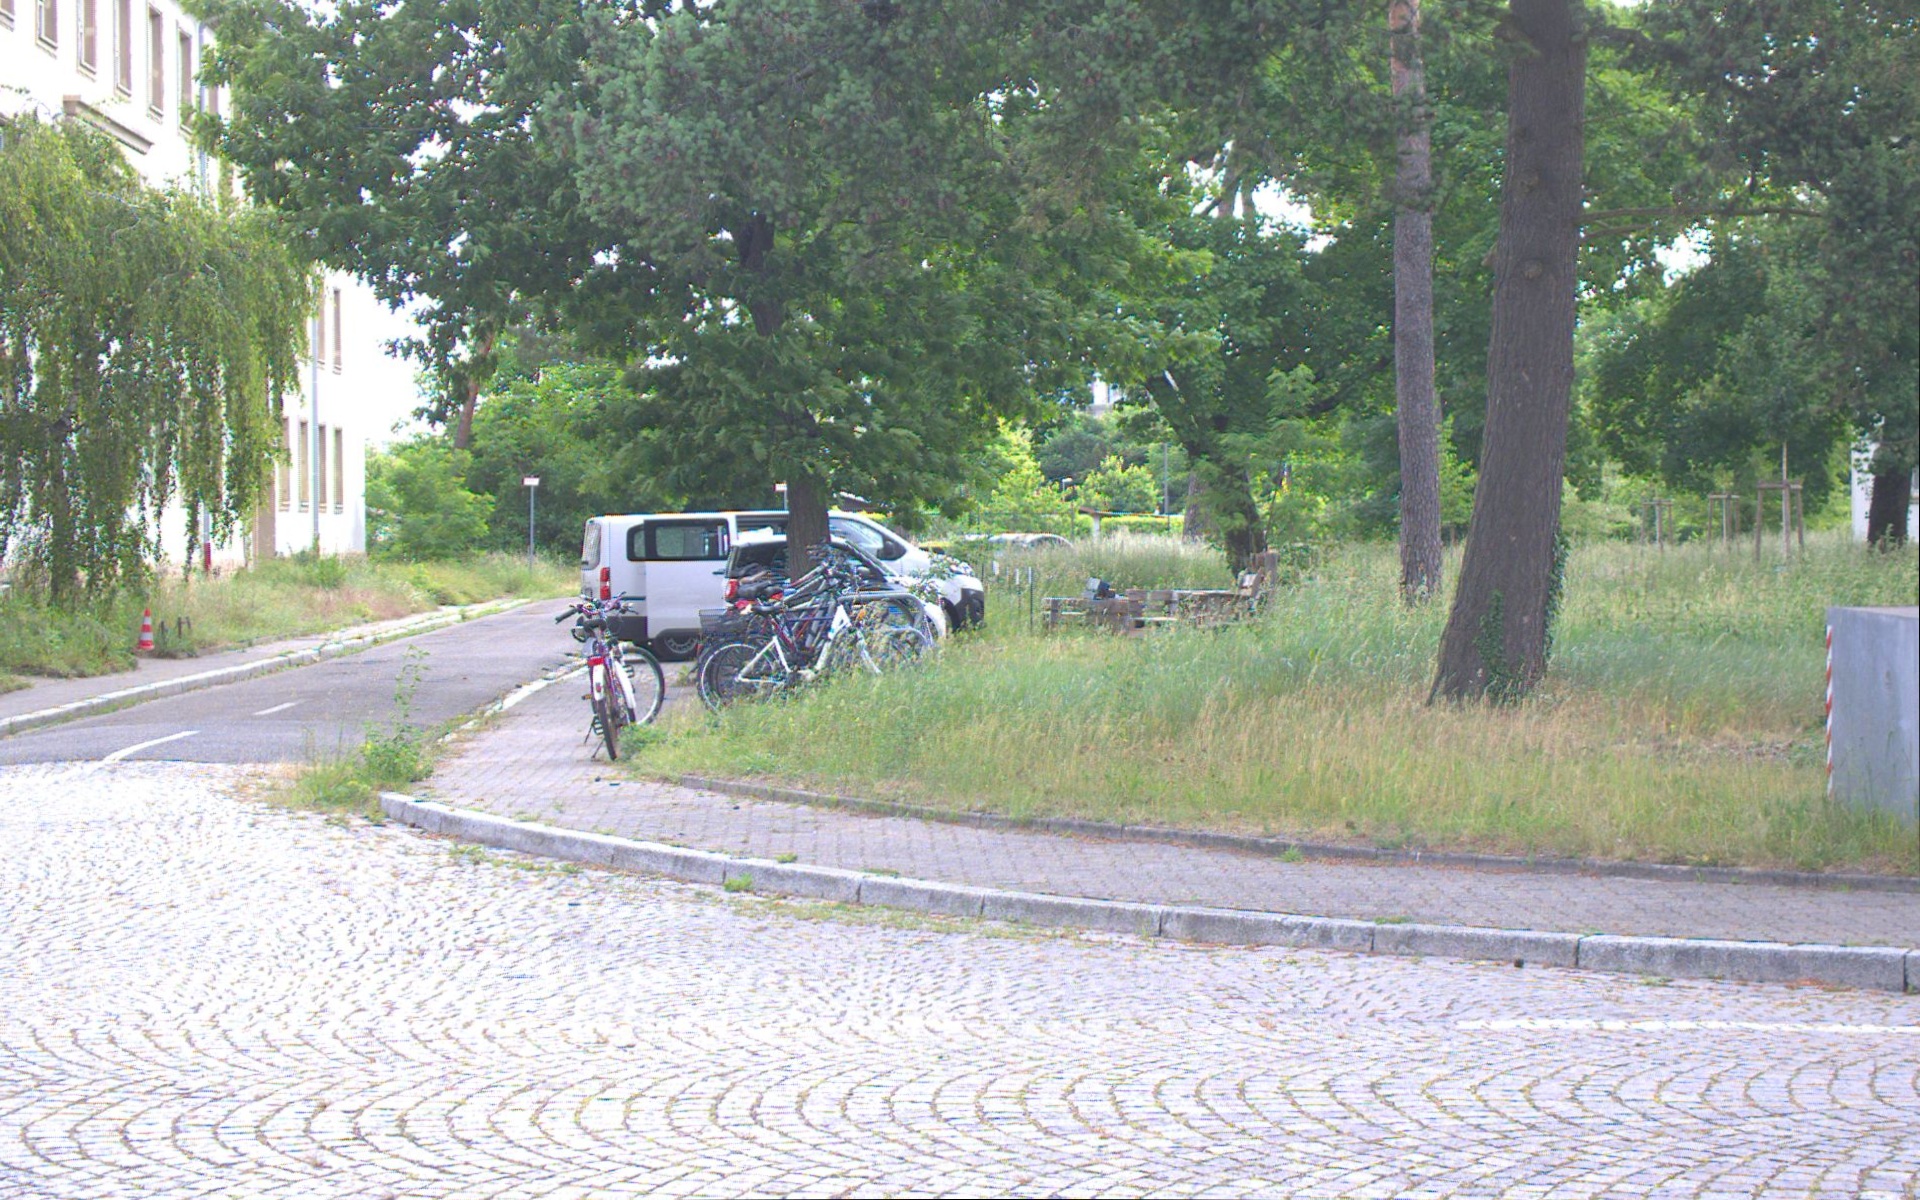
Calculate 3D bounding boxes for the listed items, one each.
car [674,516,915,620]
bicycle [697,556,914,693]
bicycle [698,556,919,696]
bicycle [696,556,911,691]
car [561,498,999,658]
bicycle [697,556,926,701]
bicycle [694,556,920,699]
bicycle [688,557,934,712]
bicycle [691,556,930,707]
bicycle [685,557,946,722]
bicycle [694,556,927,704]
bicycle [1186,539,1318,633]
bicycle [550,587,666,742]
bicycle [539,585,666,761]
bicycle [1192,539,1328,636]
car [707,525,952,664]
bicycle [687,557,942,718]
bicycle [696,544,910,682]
[{"bbox_3d":[-2.826,-0.551,58.573,4.031,1.712,1.681,-1,1,-3],"label":"car"},{"bbox_3d":[-1.433,0.222,31.784,1.982,1.243,0.624,0,1,-4],"label":"bicycle"},{"bbox_3d":[-1.383,0.230,31.273,1.982,1.243,0.624,0,1,-4],"label":"bicycle"},{"bbox_3d":[-1.475,0.214,32.277,1.982,1.243,0.624,0,1,-4],"label":"bicycle"},{"bbox_3d":[-2.355,-0.317,44.692,5.303,1.909,2.150,-1,1,-17],"label":"car"},{"bbox_3d":[-1.309,0.246,30.196,1.982,1.243,0.624,0,1,-4],"label":"bicycle"},{"bbox_3d":[-1.366,0.240,30.595,1.982,1.243,0.624,0,1,-4],"label":"bicycle"},{"bbox_3d":[-1.223,0.277,28.180,1.982,1.243,0.624,0,1,-4],"label":"bicycle"},{"bbox_3d":[-1.269,0.264,29.038,1.982,1.243,0.624,0,1,-4],"label":"bicycle"},{"bbox_3d":[-1.126,0.300,26.627,1.982,1.243,0.624,0,1,-4],"label":"bicycle"},{"bbox_3d":[-1.297,0.254,29.671,1.982,1.243,0.624,0,1,-4],"label":"bicycle"},{"bbox_3d":[3.526,-0.175,41.577,1.549,1.121,0.401,0,1,0],"label":"bicycle"},{"bbox_3d":[-2.565,0.453,25.160,0.622,1.079,1.677,1,1,2],"label":"bicycle"},{"bbox_3d":[-2.395,0.468,23.210,0.622,1.110,1.989,1,1,1],"label":"bicycle"},{"bbox_3d":[3.514,-0.154,40.345,1.549,1.121,0.401,0,1,0],"label":"bicycle"},{"bbox_3d":[-1.569,-0.080,41.243,2.847,1.552,1.472,-1,2,-3],"label":"car"},{"bbox_3d":[-1.160,0.291,27.255,1.982,1.243,0.624,0,1,-4],"label":"bicycle"},{"bbox_3d":[-1.510,0.116,32.935,1.982,1.243,0.624,-2,1,-4],"label":"bicycle"}]
